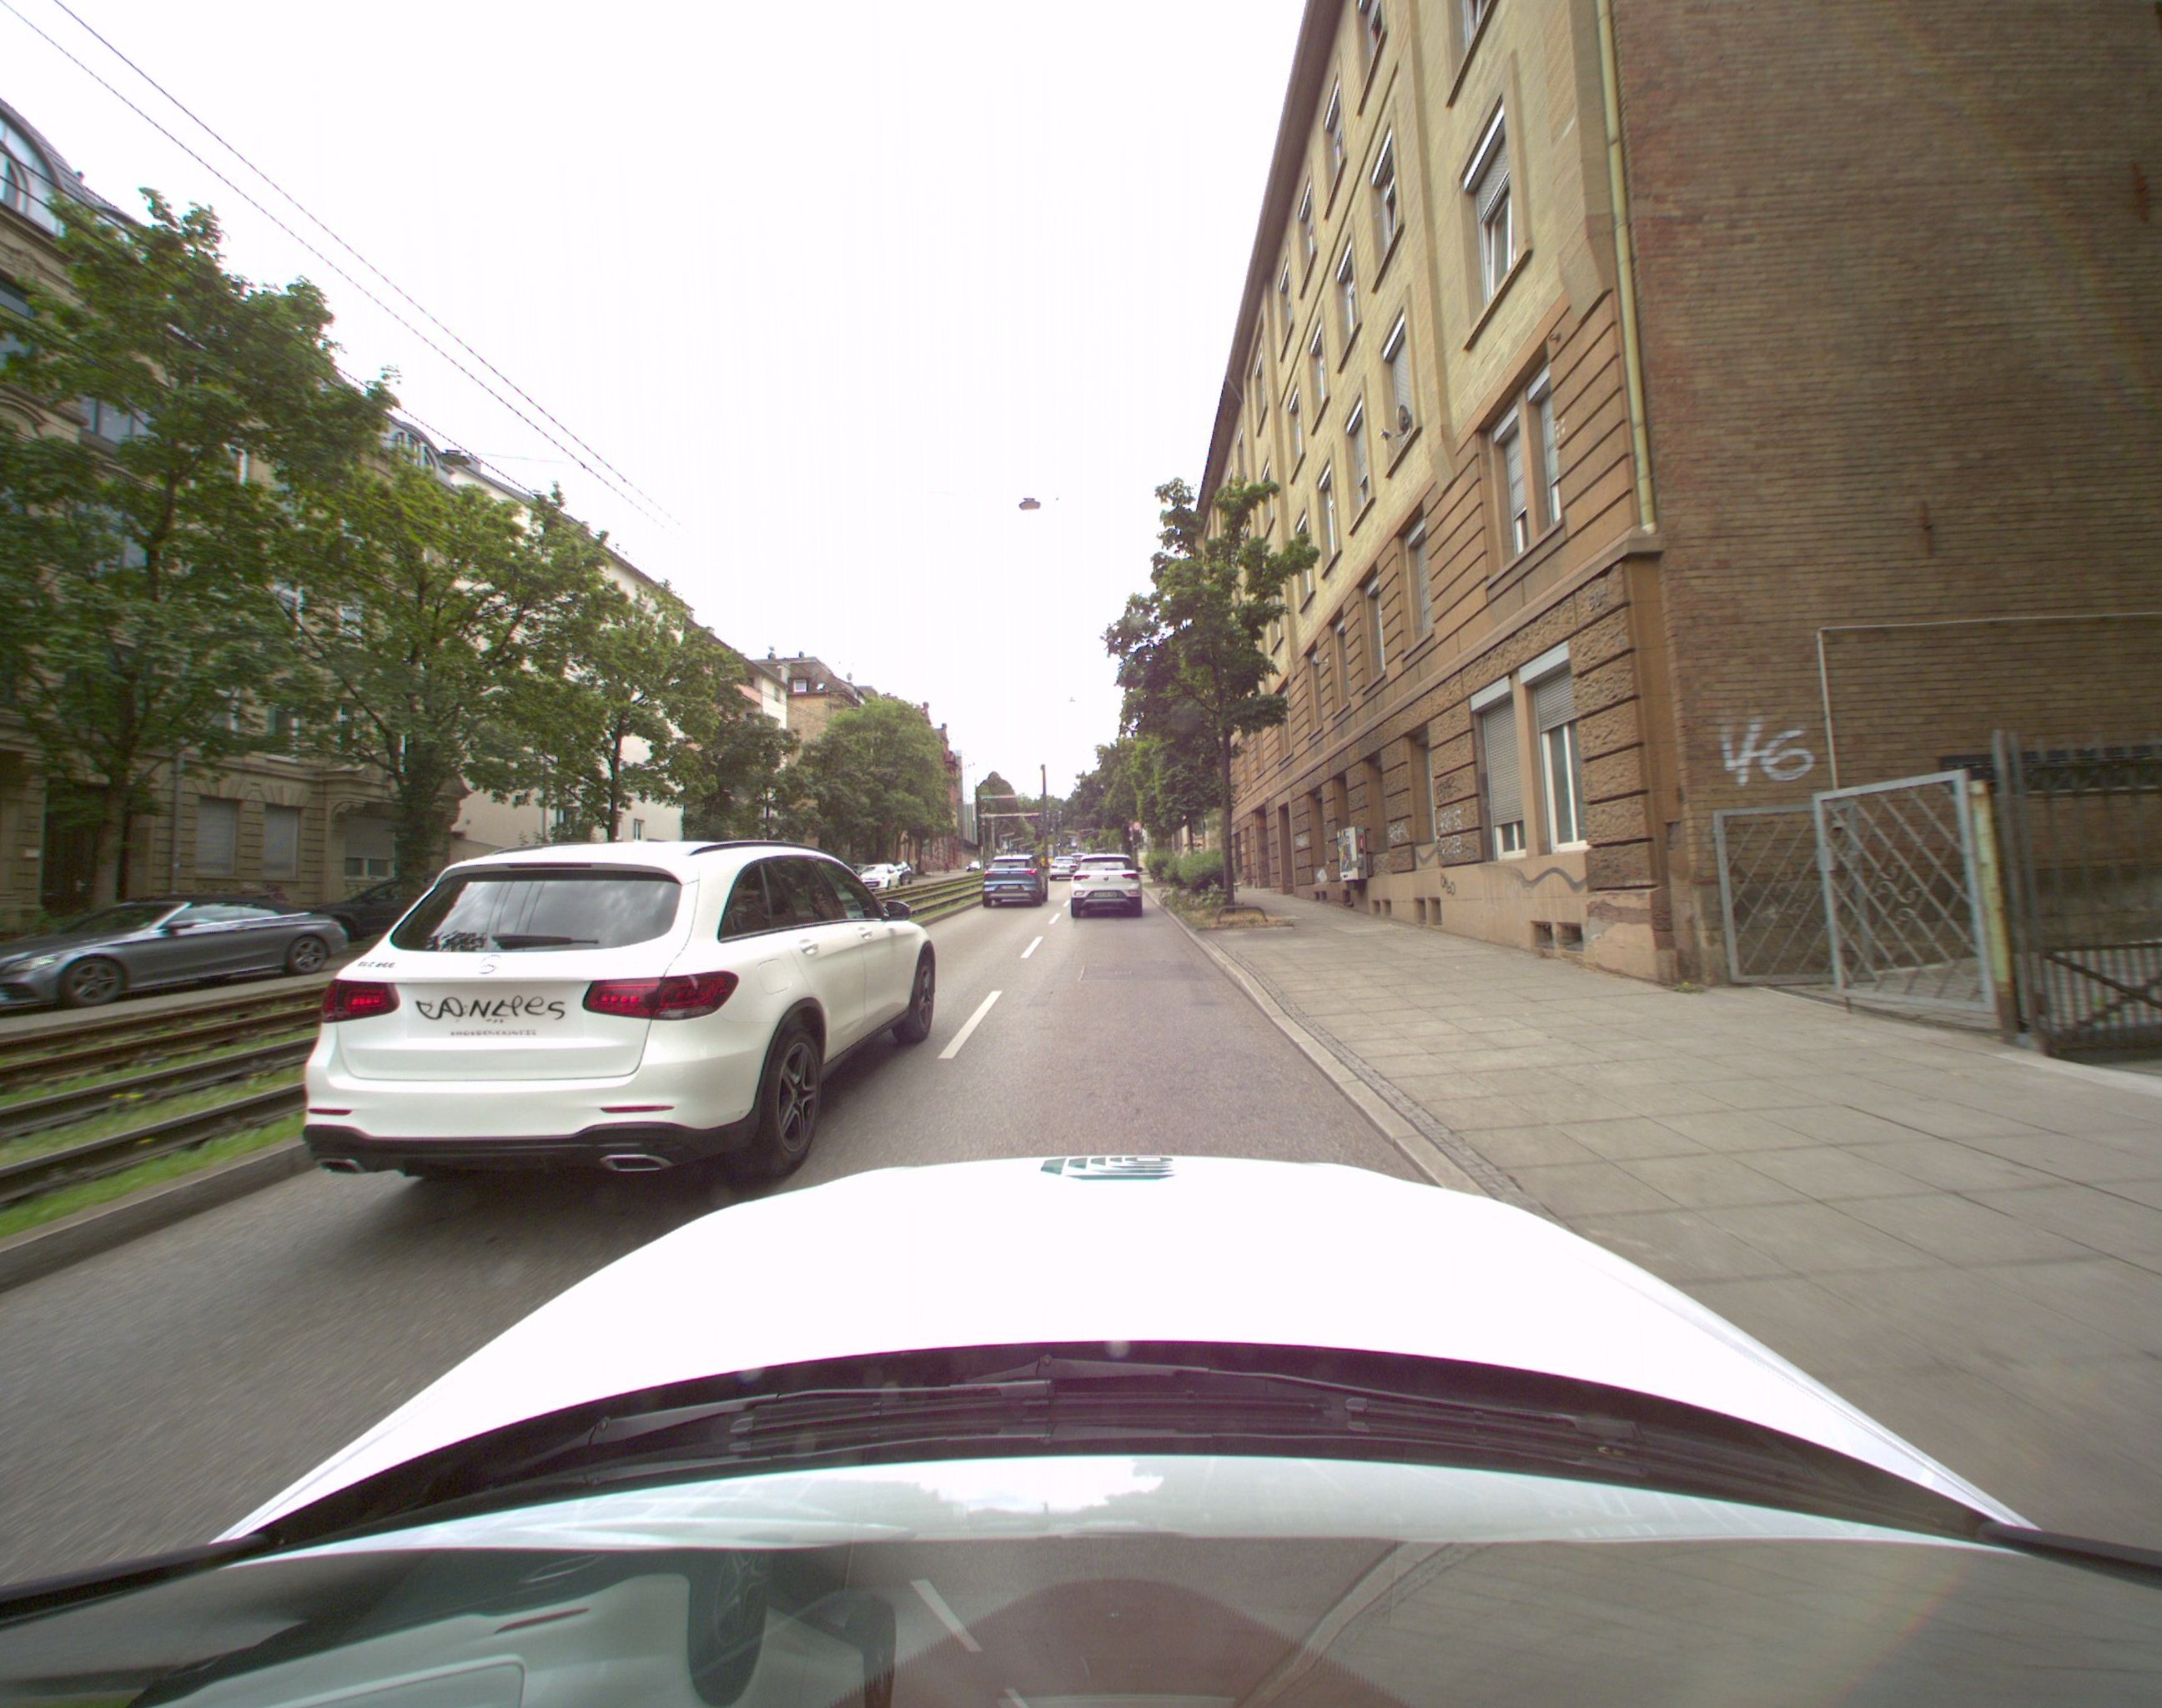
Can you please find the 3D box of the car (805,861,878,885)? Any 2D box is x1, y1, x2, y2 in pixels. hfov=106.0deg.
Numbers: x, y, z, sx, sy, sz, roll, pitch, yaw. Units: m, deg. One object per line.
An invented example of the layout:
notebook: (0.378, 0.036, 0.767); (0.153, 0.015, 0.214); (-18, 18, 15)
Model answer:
car: (-17.156, 1.355, 58.384); (4.624, 1.617, 1.916); (0, 0, -32)

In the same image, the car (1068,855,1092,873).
car: (-0.052, 0.854, 70.906); (1.828, 1.546, 4.196); (-1, 0, 2)

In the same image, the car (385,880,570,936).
car: (-18.078, 1.560, 24.671); (4.202, 1.339, 1.854); (-2, 0, -28)

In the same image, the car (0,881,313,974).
car: (-18.344, 1.373, 16.107); (4.202, 1.435, 1.854); (-2, 0, -28)

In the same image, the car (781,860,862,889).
car: (-16.668, 1.285, 52.479); (4.634, 1.797, 1.912); (0, 0, -45)

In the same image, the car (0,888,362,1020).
car: (-13.940, 1.380, 12.383); (1.718, 1.410, 4.600); (-4, 0, 2)

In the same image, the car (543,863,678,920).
car: (-17.550, 1.357, 30.630); (4.199, 1.836, 1.856); (-2, 0, -25)

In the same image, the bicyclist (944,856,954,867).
bicyclist: (-17.056, 0.986, 105.202); (0.935, 1.425, 1.188); (-2, 0, 2)

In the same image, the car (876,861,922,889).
car: (-12.309, 1.368, 55.318); (1.910, 1.650, 4.608); (-4, 0, 1)

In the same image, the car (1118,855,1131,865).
car: (7.028, 0.984, 133.369); (2.060, 1.546, 4.196); (-1, 0, 2)

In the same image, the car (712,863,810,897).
car: (-17.128, 1.331, 43.618); (4.623, 1.682, 1.917); (0, 0, -32)

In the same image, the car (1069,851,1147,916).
car: (0.680, 0.709, 21.489); (1.829, 1.546, 4.194); (-1, 0, 1)

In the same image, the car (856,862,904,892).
car: (-10.803, 1.217, 43.883); (1.582, 1.435, 3.413); (-4, 0, 1)

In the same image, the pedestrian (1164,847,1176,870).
pedestrian: (6.513, 0.303, 59.836); (0.705, 1.662, 1.131); (-2, 0, 12)

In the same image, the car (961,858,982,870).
car: (-14.059, 1.294, 104.651); (1.985, 1.403, 4.003); (-2, 0, 3)

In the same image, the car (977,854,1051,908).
car: (-2.039, 0.791, 25.890); (1.828, 1.546, 4.196); (-1, 0, 2)

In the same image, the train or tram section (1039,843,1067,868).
train or tram section: (-4.102, 0.245, 122.878); (2.983, 3.349, 13.448); (-2, 0, 3)

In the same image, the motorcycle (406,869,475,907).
motorcycle: (-25.758, 1.360, 32.783); (2.166, 1.417, 0.769); (-2, 0, 3)

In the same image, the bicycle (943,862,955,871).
bicycle: (-17.040, 1.587, 105.156); (0.934, 1.100, 2.704); (-2, 0, 2)

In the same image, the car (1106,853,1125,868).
car: (3.884, 0.714, 91.595); (2.060, 1.546, 4.196); (-1, 0, 2)

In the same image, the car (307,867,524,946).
car: (-17.798, 1.347, 22.073); (4.202, 1.767, 1.854); (-2, 0, -28)

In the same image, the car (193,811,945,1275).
car: (-2.264, 0.695, 5.304); (1.829, 1.667, 4.672); (-1, 0, 1)

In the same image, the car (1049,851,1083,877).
car: (-0.898, 0.609, 51.005); (1.828, 1.546, 4.196); (-1, 0, 2)
